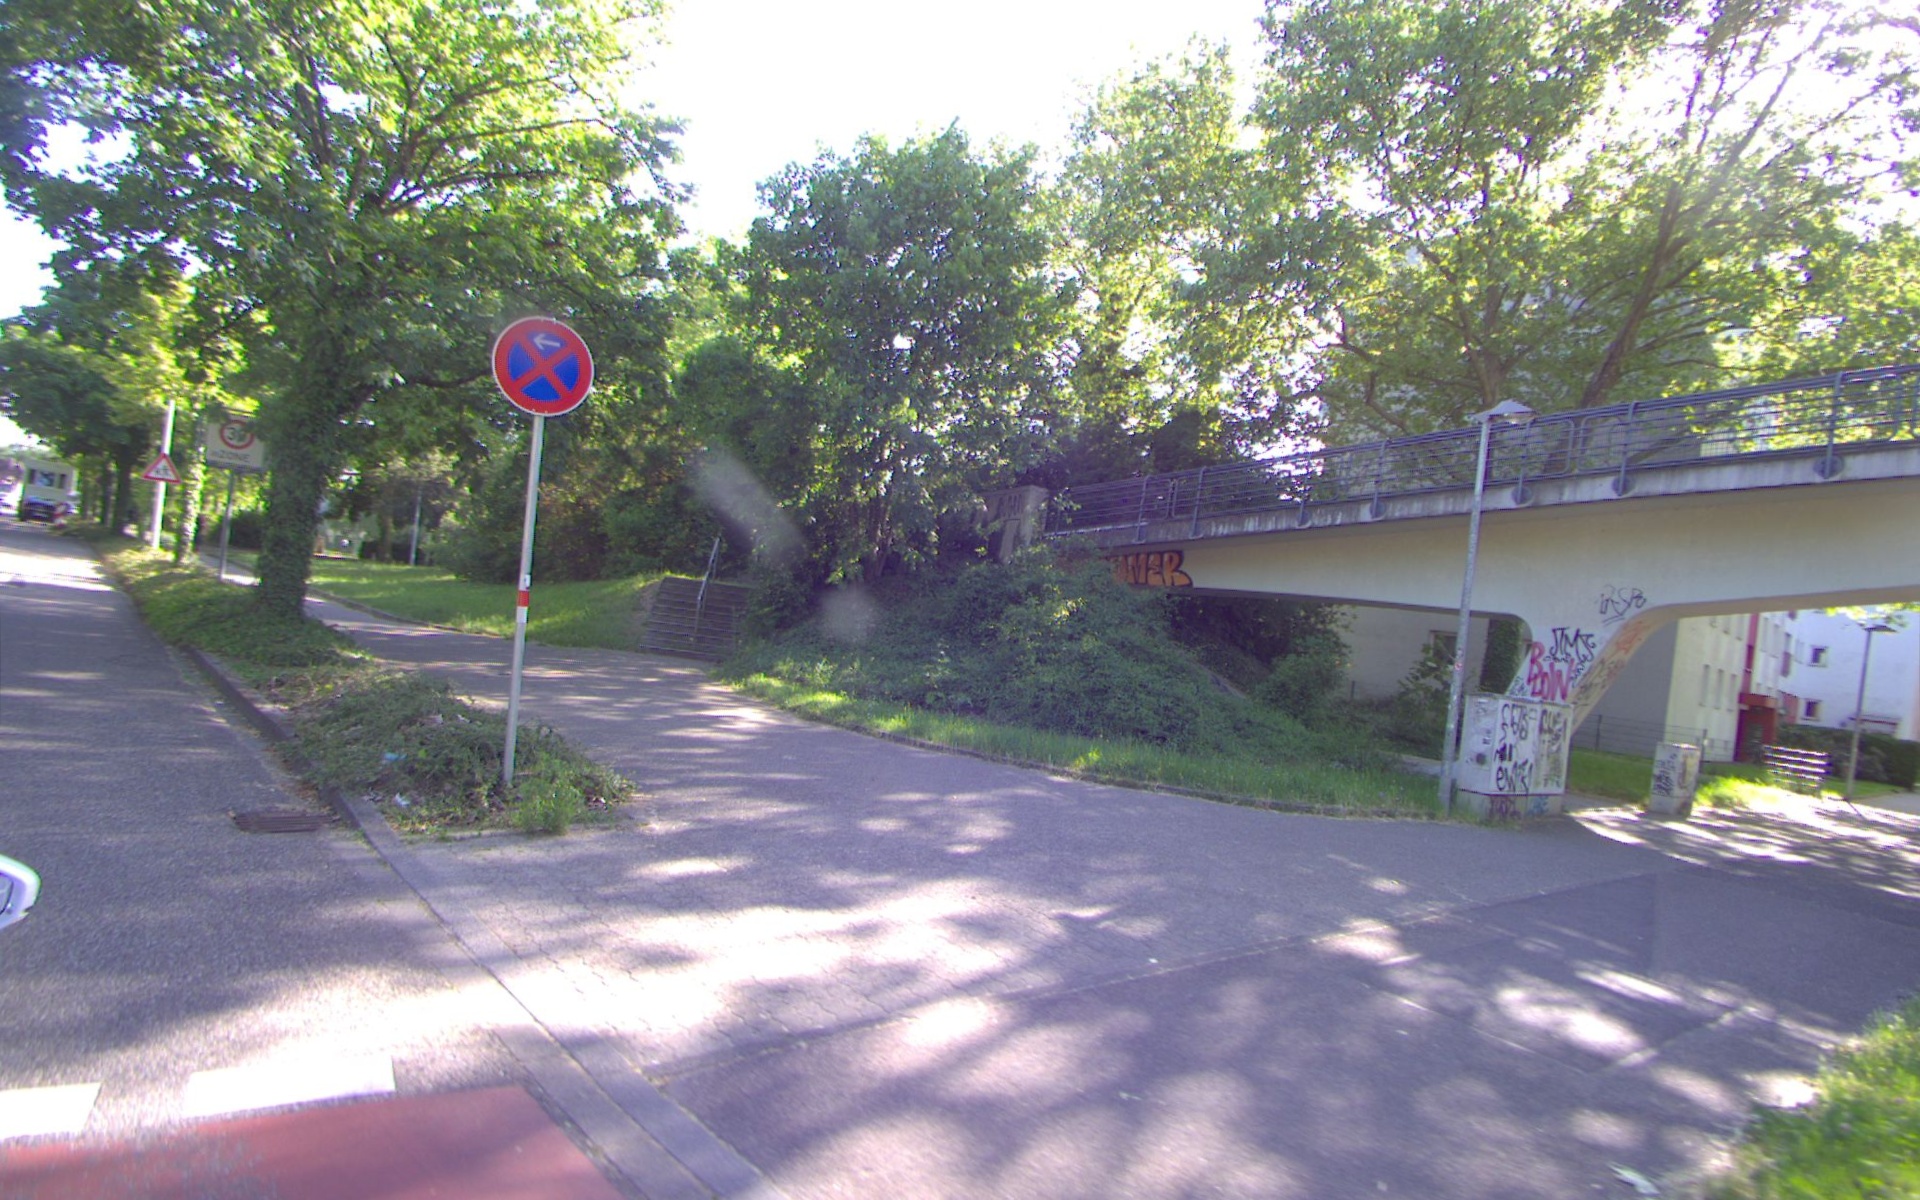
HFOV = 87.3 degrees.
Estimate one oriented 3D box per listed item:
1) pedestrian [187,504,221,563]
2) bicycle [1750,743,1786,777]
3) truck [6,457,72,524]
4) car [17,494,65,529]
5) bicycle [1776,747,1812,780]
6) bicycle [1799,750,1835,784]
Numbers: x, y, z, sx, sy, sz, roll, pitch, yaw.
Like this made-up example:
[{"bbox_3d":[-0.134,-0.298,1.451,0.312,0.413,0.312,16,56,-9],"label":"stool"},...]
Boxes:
[{"bbox_3d":[-25.025,-2.191,33.308,0.646,1.841,0.642,8,-1,-43],"label":"pedestrian"},{"bbox_3d":[31.028,6.151,38.612,1.786,1.120,0.586,9,-1,-38],"label":"bicycle"},{"bbox_3d":[-65.057,-7.674,71.211,2.879,3.990,9.881,9,-1,-42],"label":"truck"},{"bbox_3d":[-50.394,-4.845,55.210,1.789,1.528,3.953,9,-2,-42],"label":"car"},{"bbox_3d":[31.466,6.175,37.959,1.786,1.120,0.586,9,-1,-38],"label":"bicycle"},{"bbox_3d":[31.859,6.202,37.404,1.786,1.120,0.586,9,-1,-38],"label":"bicycle"}]
